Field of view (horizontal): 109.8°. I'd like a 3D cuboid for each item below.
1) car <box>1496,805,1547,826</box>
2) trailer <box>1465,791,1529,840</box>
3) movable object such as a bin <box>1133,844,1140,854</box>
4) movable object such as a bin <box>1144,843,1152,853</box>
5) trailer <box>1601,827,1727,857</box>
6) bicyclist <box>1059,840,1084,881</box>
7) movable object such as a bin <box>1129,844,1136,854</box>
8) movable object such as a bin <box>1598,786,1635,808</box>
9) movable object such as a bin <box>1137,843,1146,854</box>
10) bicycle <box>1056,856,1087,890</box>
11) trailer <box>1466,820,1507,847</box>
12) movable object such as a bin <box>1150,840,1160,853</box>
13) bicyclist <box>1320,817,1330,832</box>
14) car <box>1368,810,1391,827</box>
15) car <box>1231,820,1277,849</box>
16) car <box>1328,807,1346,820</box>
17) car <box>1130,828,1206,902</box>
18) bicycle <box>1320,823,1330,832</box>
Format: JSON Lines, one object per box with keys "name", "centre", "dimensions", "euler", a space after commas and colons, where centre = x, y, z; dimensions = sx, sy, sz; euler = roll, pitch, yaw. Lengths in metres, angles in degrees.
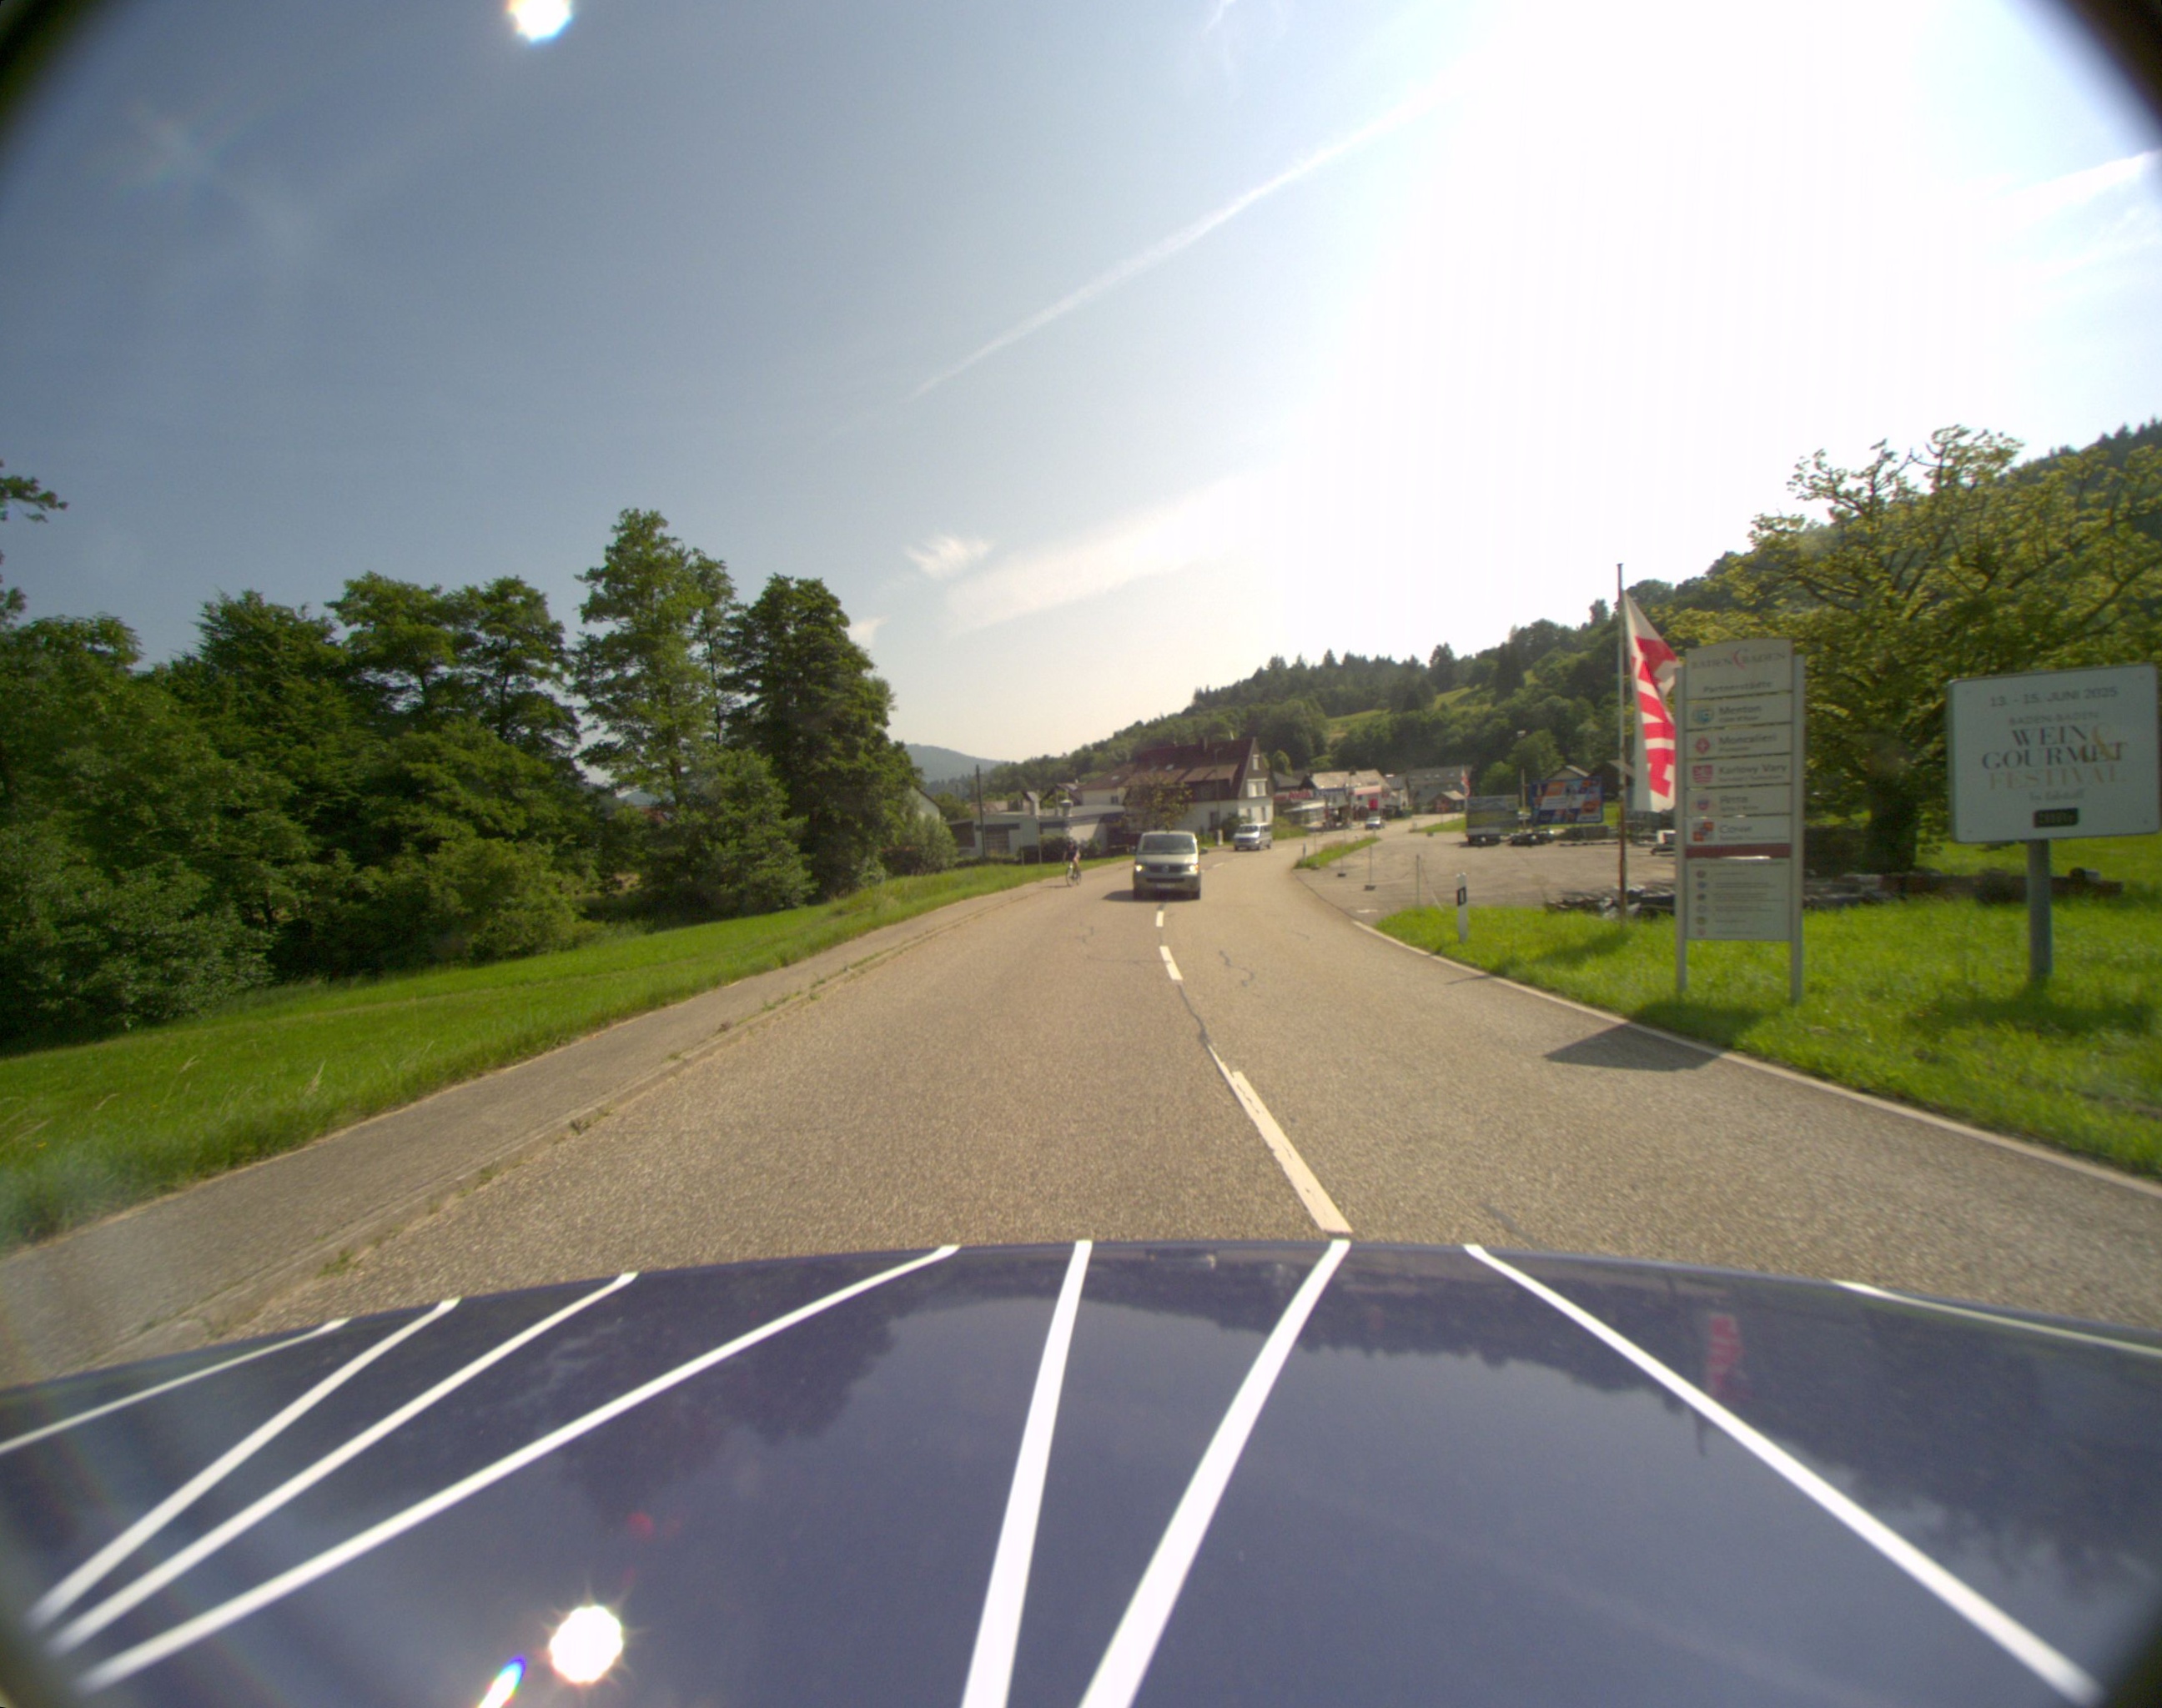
{"name": "car", "centre": [40.291, -3.550, 69.464], "dimensions": [4.914, 1.640, 1.832], "euler": [-4, 3, -29]}
{"name": "trailer", "centre": [26.996, -2.512, 49.420], "dimensions": [3.394, 2.896, 1.886], "euler": [-3, 3, 26]}
{"name": "movable object such as a bin", "centre": [5.202, -0.498, 70.945], "dimensions": [0.419, 0.895, 0.587], "euler": [-4, 3, 23]}
{"name": "movable object such as a bin", "centre": [6.201, -0.566, 70.510], "dimensions": [0.568, 0.895, 0.587], "euler": [-4, 3, 23]}
{"name": "trailer", "centre": [24.317, -0.499, 31.880], "dimensions": [3.935, 0.934, 1.870], "euler": [-3, 4, 30]}
{"name": "bicyclist", "centre": [-0.321, 0.212, 26.264], "dimensions": [0.580, 1.335, 1.146], "euler": [1, 3, 14]}
{"name": "movable object such as a bin", "centre": [4.808, -0.472, 71.121], "dimensions": [0.419, 0.895, 0.587], "euler": [-4, 3, 23]}
{"name": "movable object such as a bin", "centre": [82.137, -8.723, 116.611], "dimensions": [2.206, 3.120, 4.181], "euler": [-6, 4, -43]}
{"name": "movable object such as a bin", "centre": [5.658, -0.529, 70.736], "dimensions": [0.568, 0.895, 0.587], "euler": [-4, 3, 23]}
{"name": "bicycle", "centre": [-0.318, 0.633, 26.268], "dimensions": [0.580, 1.029, 1.992], "euler": [1, 3, 14]}
{"name": "trailer", "centre": [24.166, -1.255, 45.317], "dimensions": [1.995, 1.220, 5.553], "euler": [-3, 3, 28]}
{"name": "movable object such as a bin", "centre": [6.849, -0.720, 70.240], "dimensions": [0.568, 1.112, 0.799], "euler": [-4, 3, 23]}
{"name": "bicyclist", "centre": [26.596, -3.237, 82.859], "dimensions": [0.689, 1.623, 1.142], "euler": [-4, 1, 27]}
{"name": "car", "centre": [35.020, -4.172, 89.149], "dimensions": [1.764, 1.737, 3.985], "euler": [-2, 5, 32]}
{"name": "car", "centre": [12.619, -1.422, 55.114], "dimensions": [1.892, 1.847, 4.710], "euler": [-1, 3, 30]}
{"name": "car", "centre": [40.875, -6.461, 121.391], "dimensions": [1.681, 1.806, 4.005], "euler": [-3, 3, 32]}
{"name": "car", "centre": [2.576, 0.219, 22.920], "dimensions": [2.023, 1.971, 5.049], "euler": [0, 2, 5]}
{"name": "bicycle", "centre": [26.561, -2.841, 82.720], "dimensions": [0.689, 0.912, 1.953], "euler": [-4, 0, 28]}
